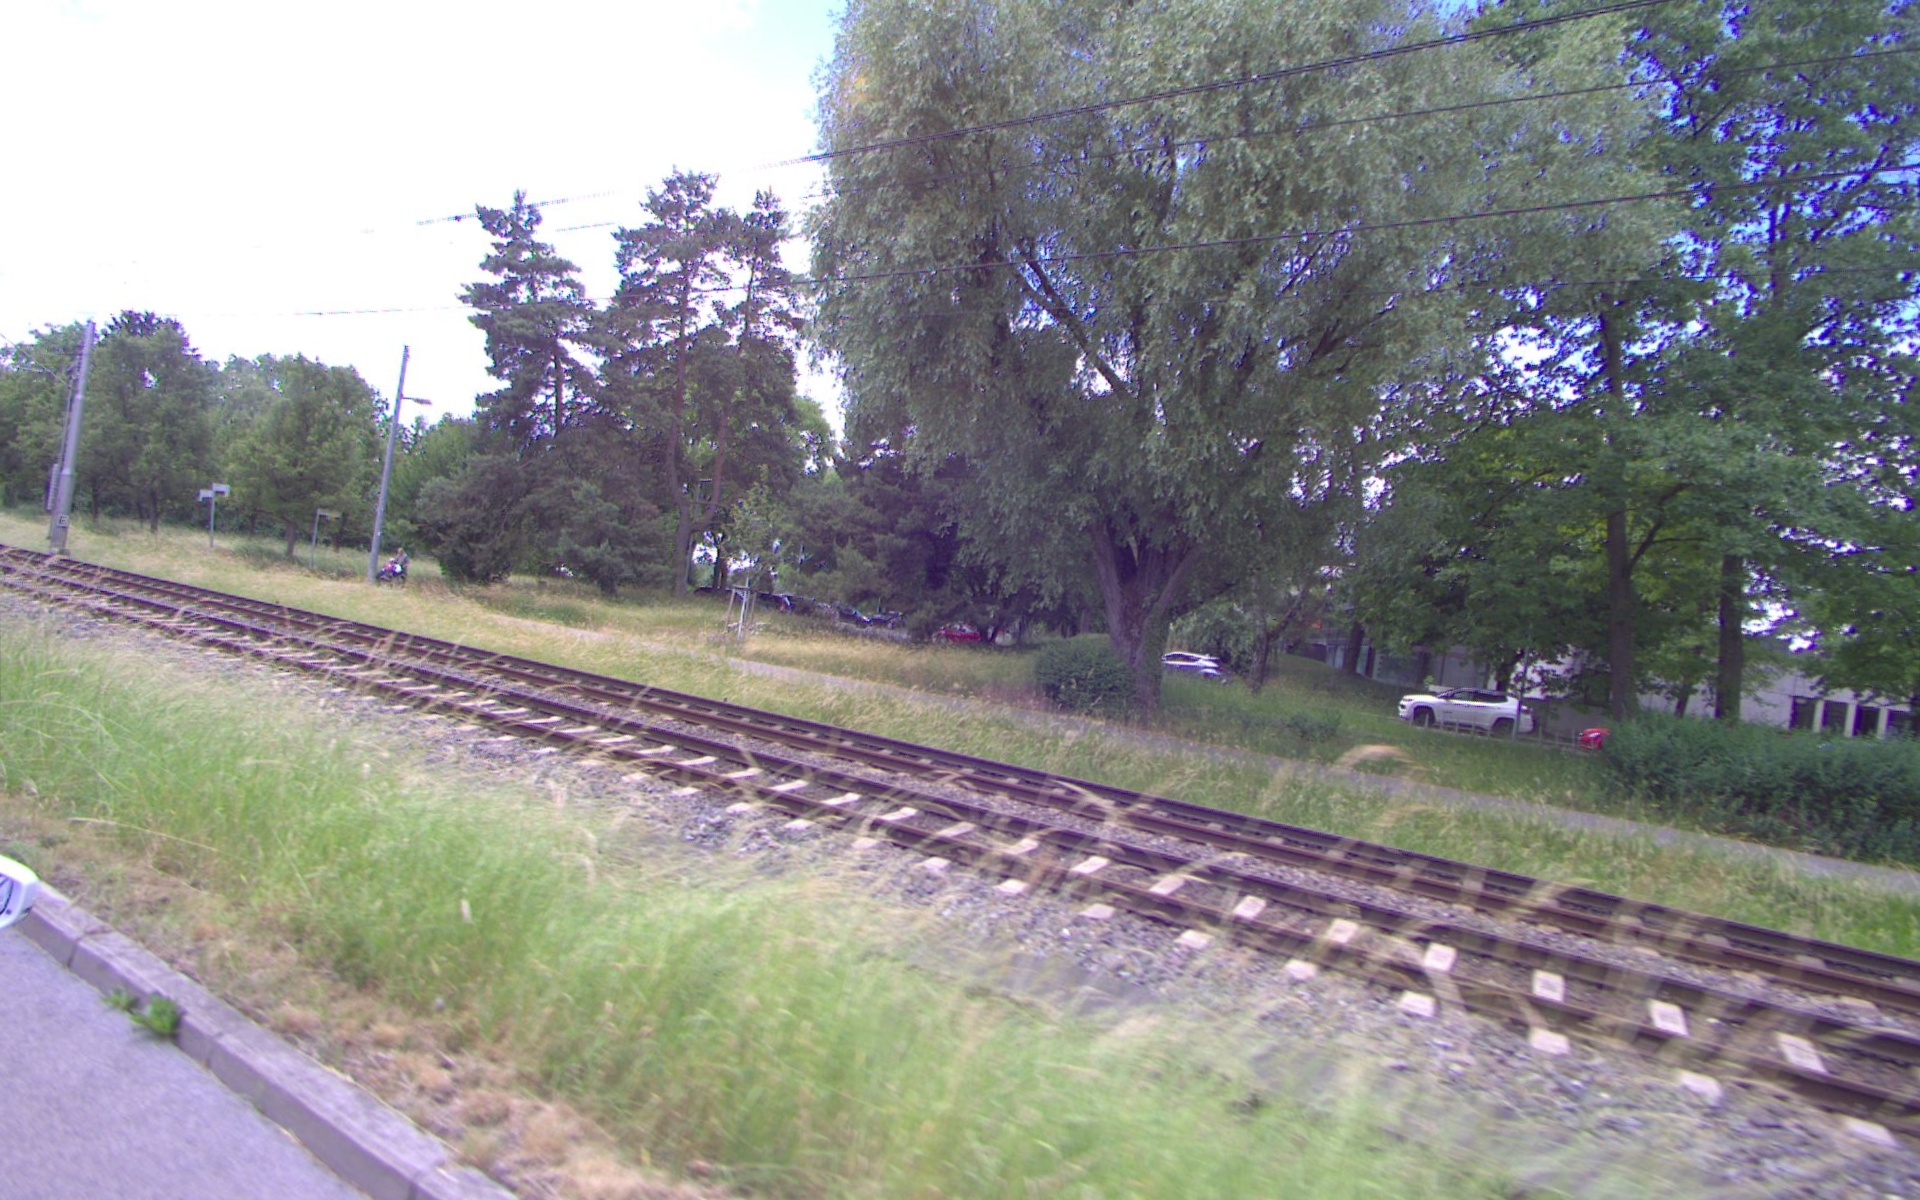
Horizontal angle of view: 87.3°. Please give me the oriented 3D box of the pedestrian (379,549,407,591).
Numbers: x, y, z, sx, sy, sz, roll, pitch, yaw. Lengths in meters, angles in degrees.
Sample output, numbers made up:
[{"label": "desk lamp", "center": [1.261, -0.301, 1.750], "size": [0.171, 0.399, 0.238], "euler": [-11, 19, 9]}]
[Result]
[{"label": "pedestrian", "center": [-24.099, -1.267, 42.775], "size": [0.648, 1.686, 0.955], "euler": [7, -1, -18]}]

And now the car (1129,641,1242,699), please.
[{"label": "car", "center": [9.300, 2.879, 41.549], "size": [3.936, 1.719, 1.997], "euler": [7, -3, 34]}]

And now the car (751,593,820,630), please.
[{"label": "car", "center": [-11.541, 0.755, 66.796], "size": [3.924, 1.833, 2.002], "euler": [8, -1, 6]}]

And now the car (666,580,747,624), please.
[{"label": "car", "center": [-14.269, 0.108, 56.603], "size": [3.925, 1.824, 1.751], "euler": [8, -1, 19]}]

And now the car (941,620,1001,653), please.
[{"label": "car", "center": [0.785, 2.532, 69.482], "size": [3.743, 1.753, 1.833], "euler": [8, -2, 6]}]

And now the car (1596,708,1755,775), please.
[{"label": "car", "center": [23.209, 4.569, 32.850], "size": [3.934, 1.459, 1.998], "euler": [7, -2, 32]}]

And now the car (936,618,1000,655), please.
[{"label": "car", "center": [0.528, 2.365, 64.710], "size": [3.743, 1.753, 1.833], "euler": [8, -2, 6]}]

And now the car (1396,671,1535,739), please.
[{"label": "car", "center": [18.124, 3.762, 36.093], "size": [4.159, 1.719, 1.998], "euler": [7, -3, 32]}]

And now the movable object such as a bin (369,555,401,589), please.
[{"label": "movable object such as a bin", "center": [-23.696, -1.139, 41.488], "size": [0.650, 1.325, 1.637], "euler": [7, -1, -17]}]
